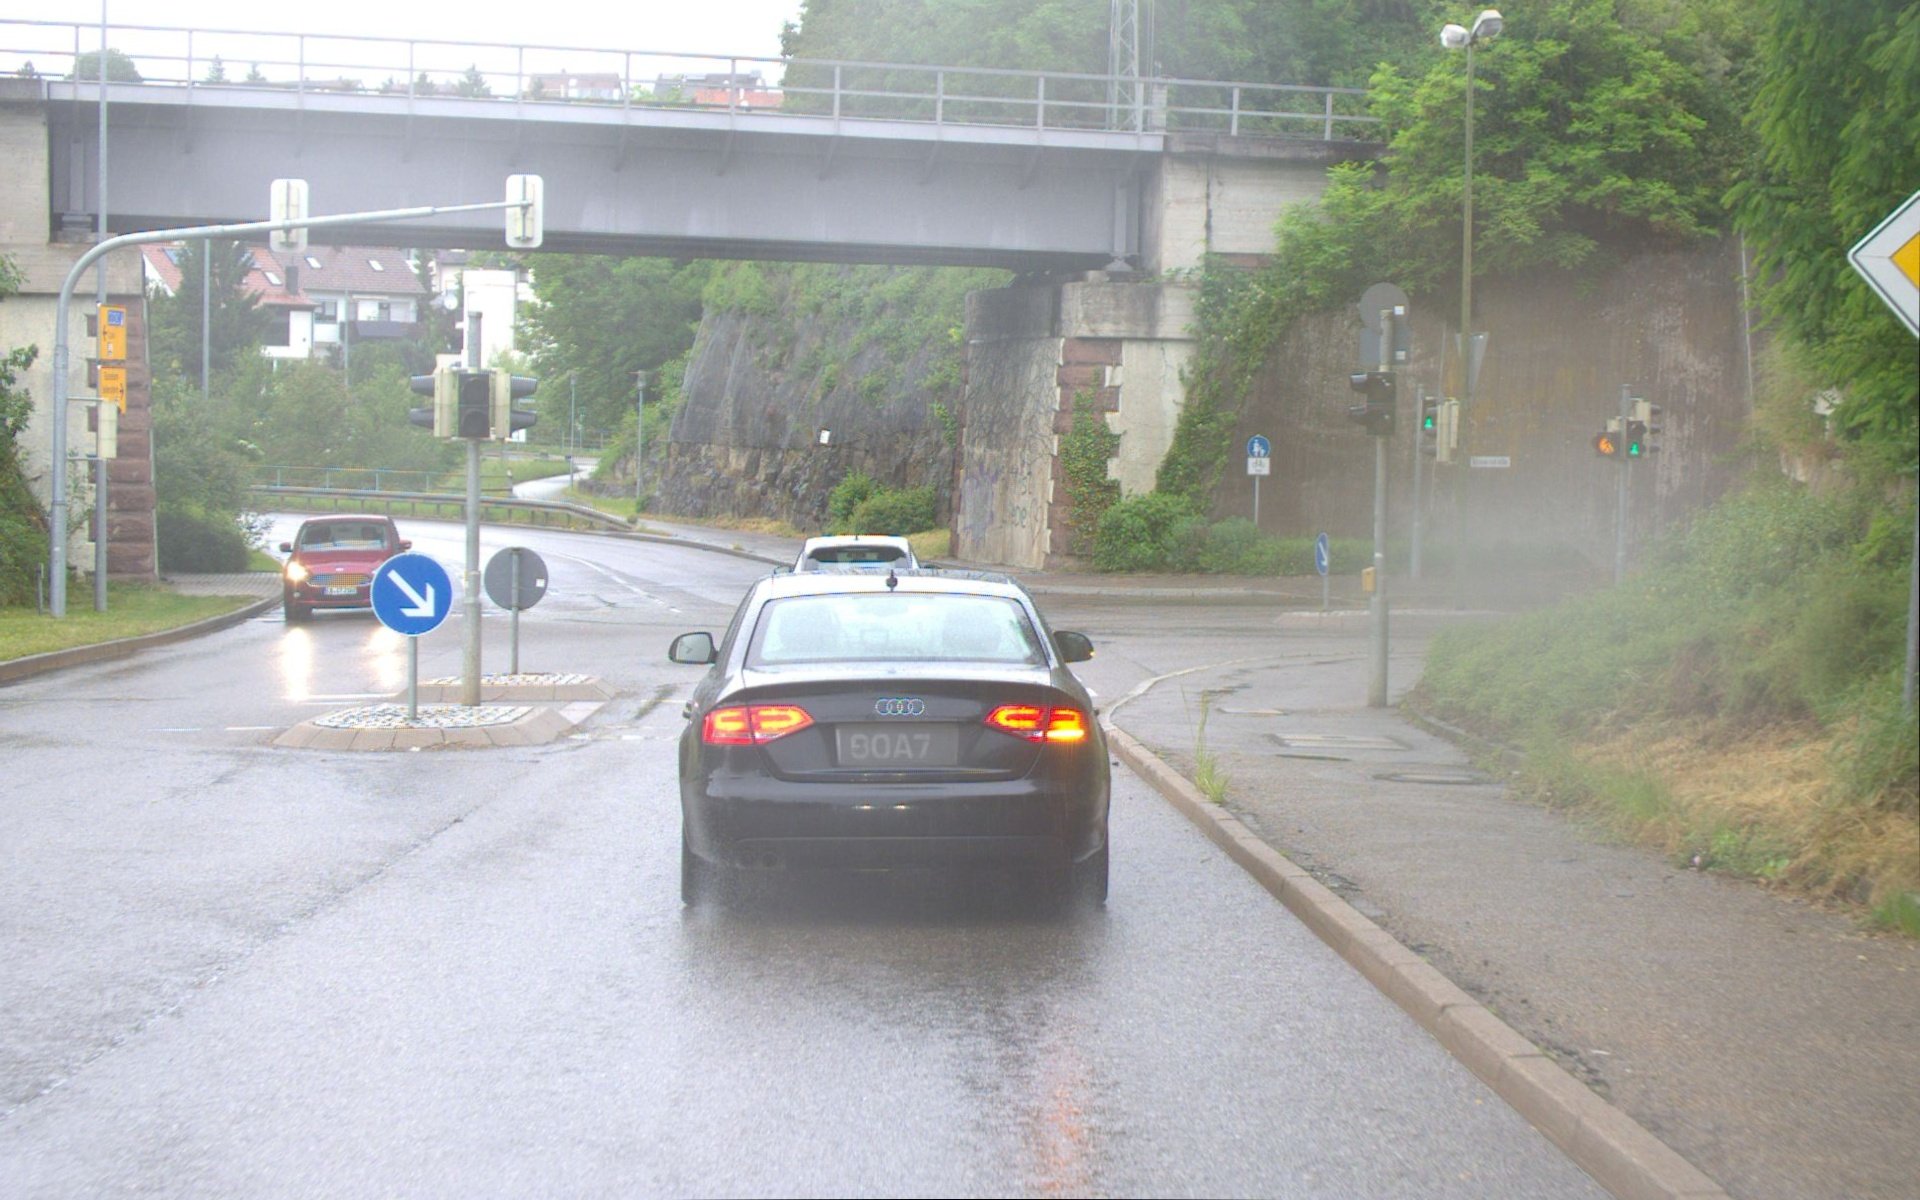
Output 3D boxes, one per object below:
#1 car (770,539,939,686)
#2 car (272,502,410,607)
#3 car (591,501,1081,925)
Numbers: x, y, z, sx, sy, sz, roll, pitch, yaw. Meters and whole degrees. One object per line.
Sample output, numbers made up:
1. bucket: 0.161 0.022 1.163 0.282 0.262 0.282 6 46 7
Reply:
1. car: -1.172 0.139 39.191 1.823 1.579 4.000 0 0 -1
2. car: -10.002 -0.745 55.788 1.993 1.622 4.001 -1 1 -7
3. car: -0.503 0.441 15.161 1.870 1.611 4.000 0 0 -1
